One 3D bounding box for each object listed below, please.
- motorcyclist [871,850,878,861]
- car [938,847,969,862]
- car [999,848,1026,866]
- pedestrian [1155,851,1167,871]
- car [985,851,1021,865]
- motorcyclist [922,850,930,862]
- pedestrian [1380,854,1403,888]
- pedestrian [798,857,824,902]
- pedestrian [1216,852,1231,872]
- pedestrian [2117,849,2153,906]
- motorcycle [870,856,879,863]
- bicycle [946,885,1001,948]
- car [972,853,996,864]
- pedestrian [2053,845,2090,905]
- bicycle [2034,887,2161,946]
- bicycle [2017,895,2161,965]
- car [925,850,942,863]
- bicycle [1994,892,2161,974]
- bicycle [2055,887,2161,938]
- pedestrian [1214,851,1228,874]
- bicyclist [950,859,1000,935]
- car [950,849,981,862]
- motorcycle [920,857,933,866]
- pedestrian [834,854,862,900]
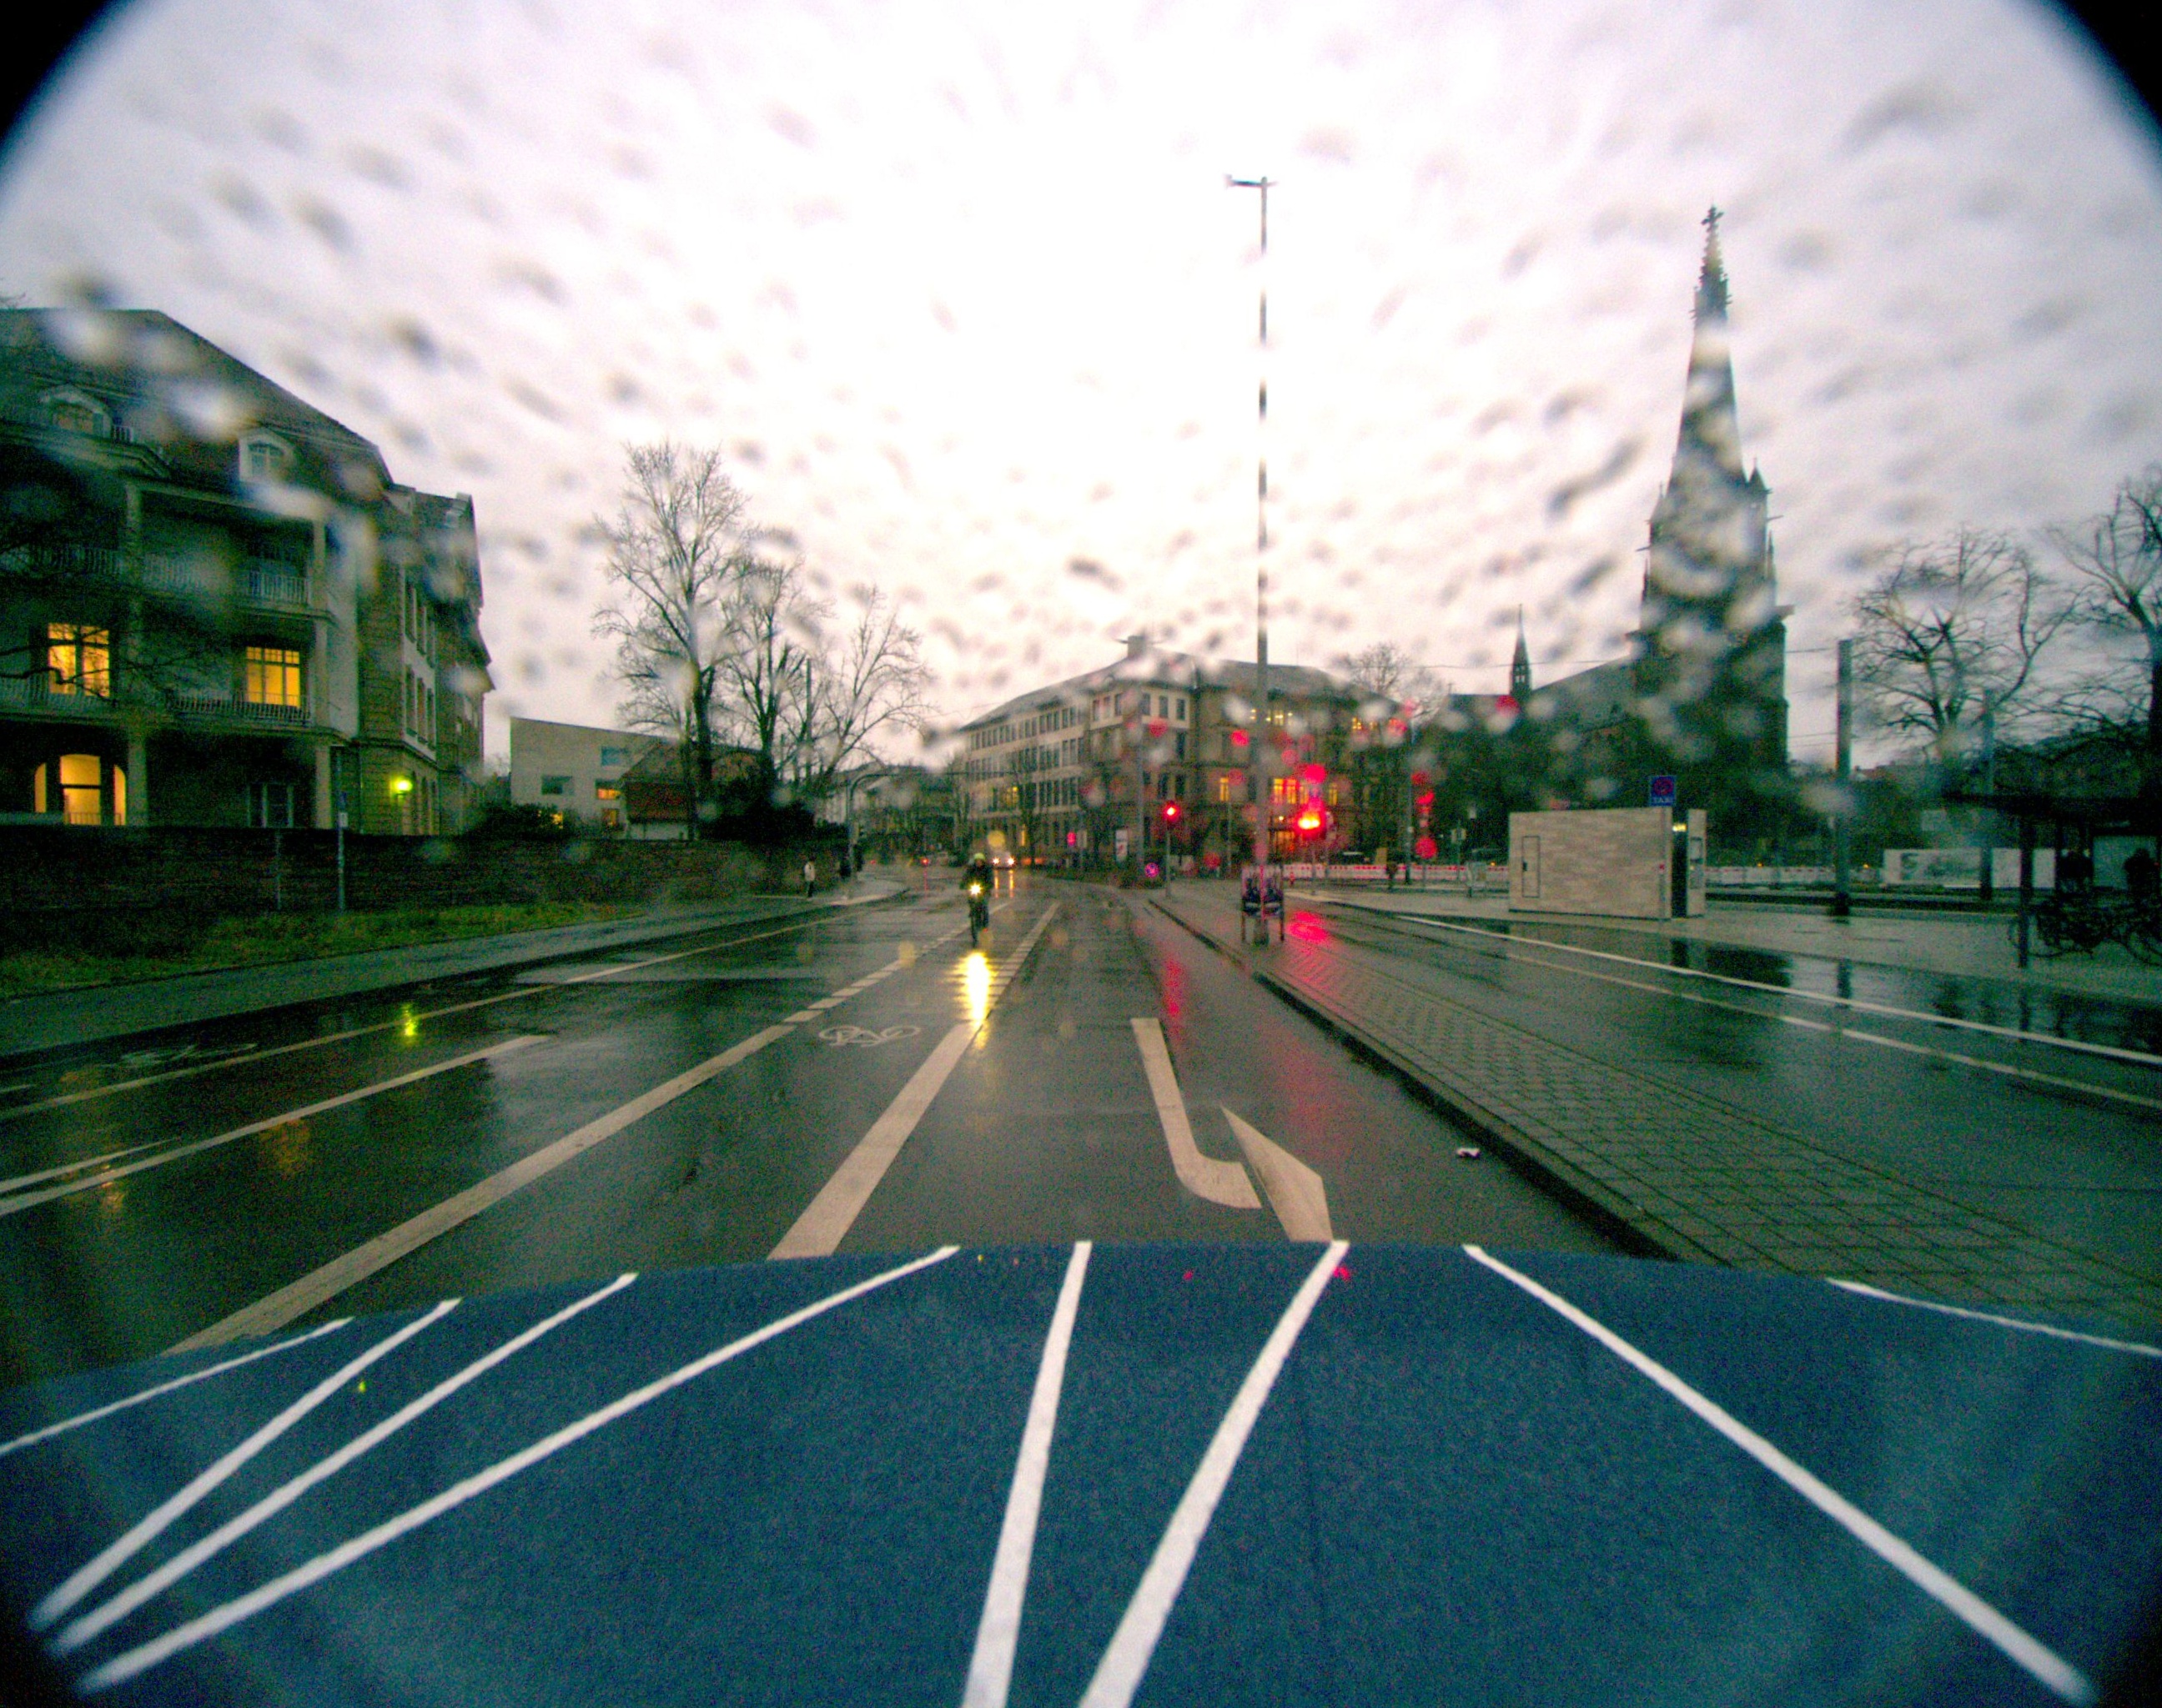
[{"bbox_3d":[-31.051,0.260,114.288,0.712,1.707,0.740,0,0,-33],"label":"motorcyclist"},{"bbox_3d":[-16.985,0.074,101.470,2.043,1.889,4.007,-2,1,28],"label":"car"},{"bbox_3d":[-7.489,0.334,83.577,1.881,1.835,4.002,-2,1,10],"label":"car"},{"bbox_3d":[7.407,0.659,70.119,0.675,1.806,0.896,0,1,-28],"label":"pedestrian"},{"bbox_3d":[-9.270,0.480,90.535,1.797,1.541,4.007,-1,1,45],"label":"car"},{"bbox_3d":[-18.841,0.220,92.432,0.702,1.375,0.864,0,0,-34],"label":"motorcyclist"},{"bbox_3d":[15.921,0.852,38.909,0.771,1.651,1.210,-1,1,36],"label":"pedestrian"},{"bbox_3d":[-10.593,0.990,29.817,0.798,1.713,0.674,1,1,-2],"label":"pedestrian"},{"bbox_3d":[12.429,0.691,66.277,0.829,1.714,0.926,0,0,-26],"label":"pedestrian"},{"bbox_3d":[31.054,0.692,22.383,0.541,1.642,0.562,-3,2,-41],"label":"pedestrian"},{"bbox_3d":[-31.037,0.857,114.284,0.727,1.048,2.162,0,0,-33],"label":"motorcycle"},{"bbox_3d":[-2.160,1.241,15.519,0.785,1.069,1.957,-2,1,1],"label":"bicycle"},{"bbox_3d":[-12.124,0.574,95.306,1.706,1.298,3.647,-2,1,16],"label":"car"},{"bbox_3d":[30.241,0.643,23.211,0.673,1.785,0.626,-3,2,-41],"label":"pedestrian"},{"bbox_3d":[19.697,1.170,14.424,0.475,0.980,1.921,-2,2,-30],"label":"bicycle"},{"bbox_3d":[16.622,1.215,12.213,0.475,0.980,1.921,-2,2,-30],"label":"bicycle"},{"bbox_3d":[-20.725,0.370,106.845,2.000,1.660,3.997,-2,1,-7],"label":"car"},{"bbox_3d":[15.504,1.181,11.609,0.475,1.064,1.921,-2,2,-30],"label":"bicycle"},{"bbox_3d":[20.853,1.162,15.014,0.475,0.905,1.921,-2,2,-30],"label":"bicycle"},{"bbox_3d":[11.798,0.723,64.013,0.675,1.890,0.971,0,1,-38],"label":"pedestrian"},{"bbox_3d":[-2.146,0.845,15.469,0.785,1.444,1.134,-2,1,1],"label":"bicyclist"},{"bbox_3d":[-15.081,0.199,99.405,1.797,1.541,4.007,-2,1,28],"label":"car"},{"bbox_3d":[-18.813,0.885,92.385,0.714,1.048,2.162,0,0,-34],"label":"motorcycle"},{"bbox_3d":[-9.556,0.935,31.160,1.000,1.890,0.673,1,1,-8],"label":"pedestrian"}]
